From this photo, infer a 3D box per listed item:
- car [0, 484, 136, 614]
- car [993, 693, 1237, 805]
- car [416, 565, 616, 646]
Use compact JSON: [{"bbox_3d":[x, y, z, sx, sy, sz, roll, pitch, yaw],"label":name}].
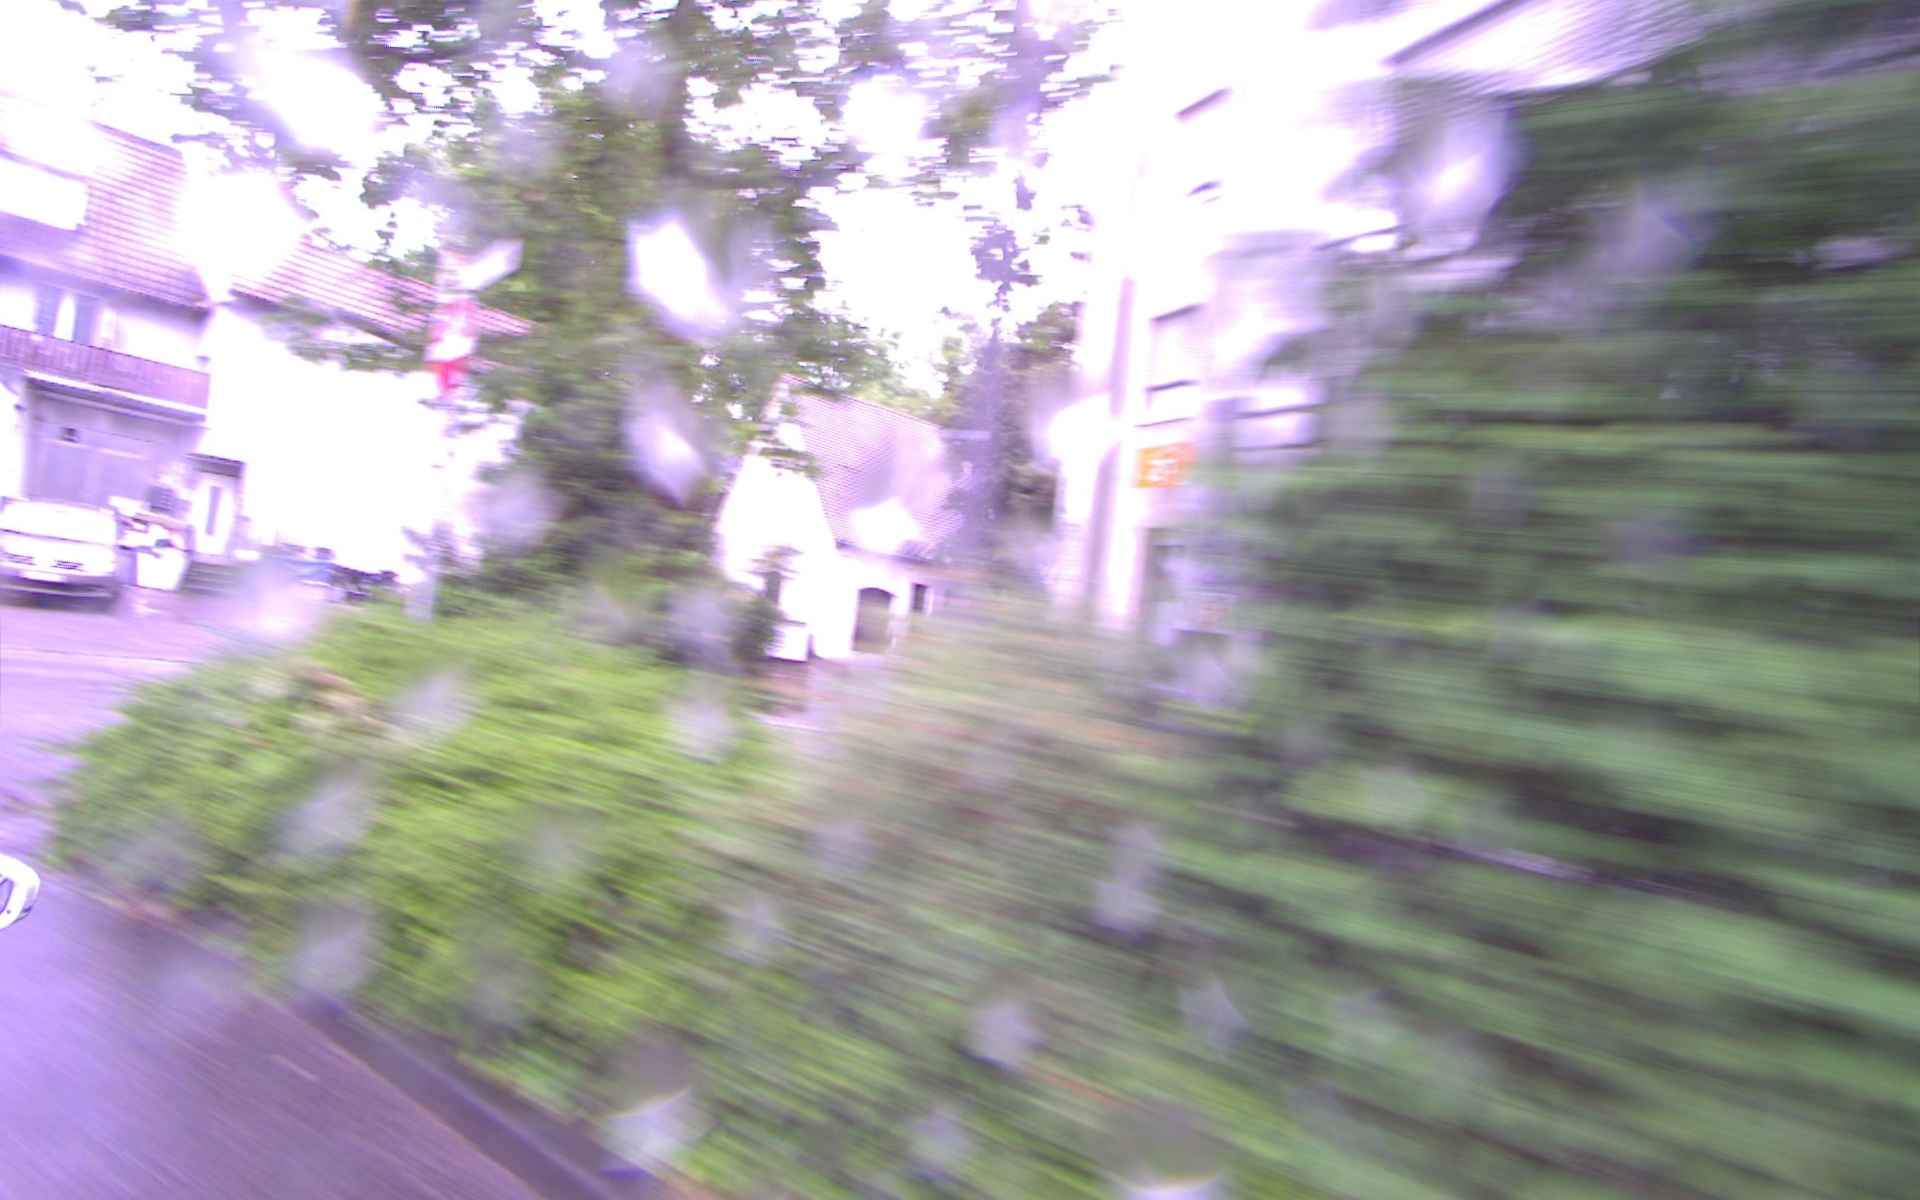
[{"bbox_3d":[-15.796,-0.969,17.579,1.918,1.748,4.614,9,-1,-41],"label":"car"},{"bbox_3d":[2.765,2.632,17.605,3.971,1.323,1.874,12,-4,-36],"label":"car"},{"bbox_3d":[-10.406,0.186,23.893,1.712,1.405,4.036,10,1,27],"label":"car"}]
